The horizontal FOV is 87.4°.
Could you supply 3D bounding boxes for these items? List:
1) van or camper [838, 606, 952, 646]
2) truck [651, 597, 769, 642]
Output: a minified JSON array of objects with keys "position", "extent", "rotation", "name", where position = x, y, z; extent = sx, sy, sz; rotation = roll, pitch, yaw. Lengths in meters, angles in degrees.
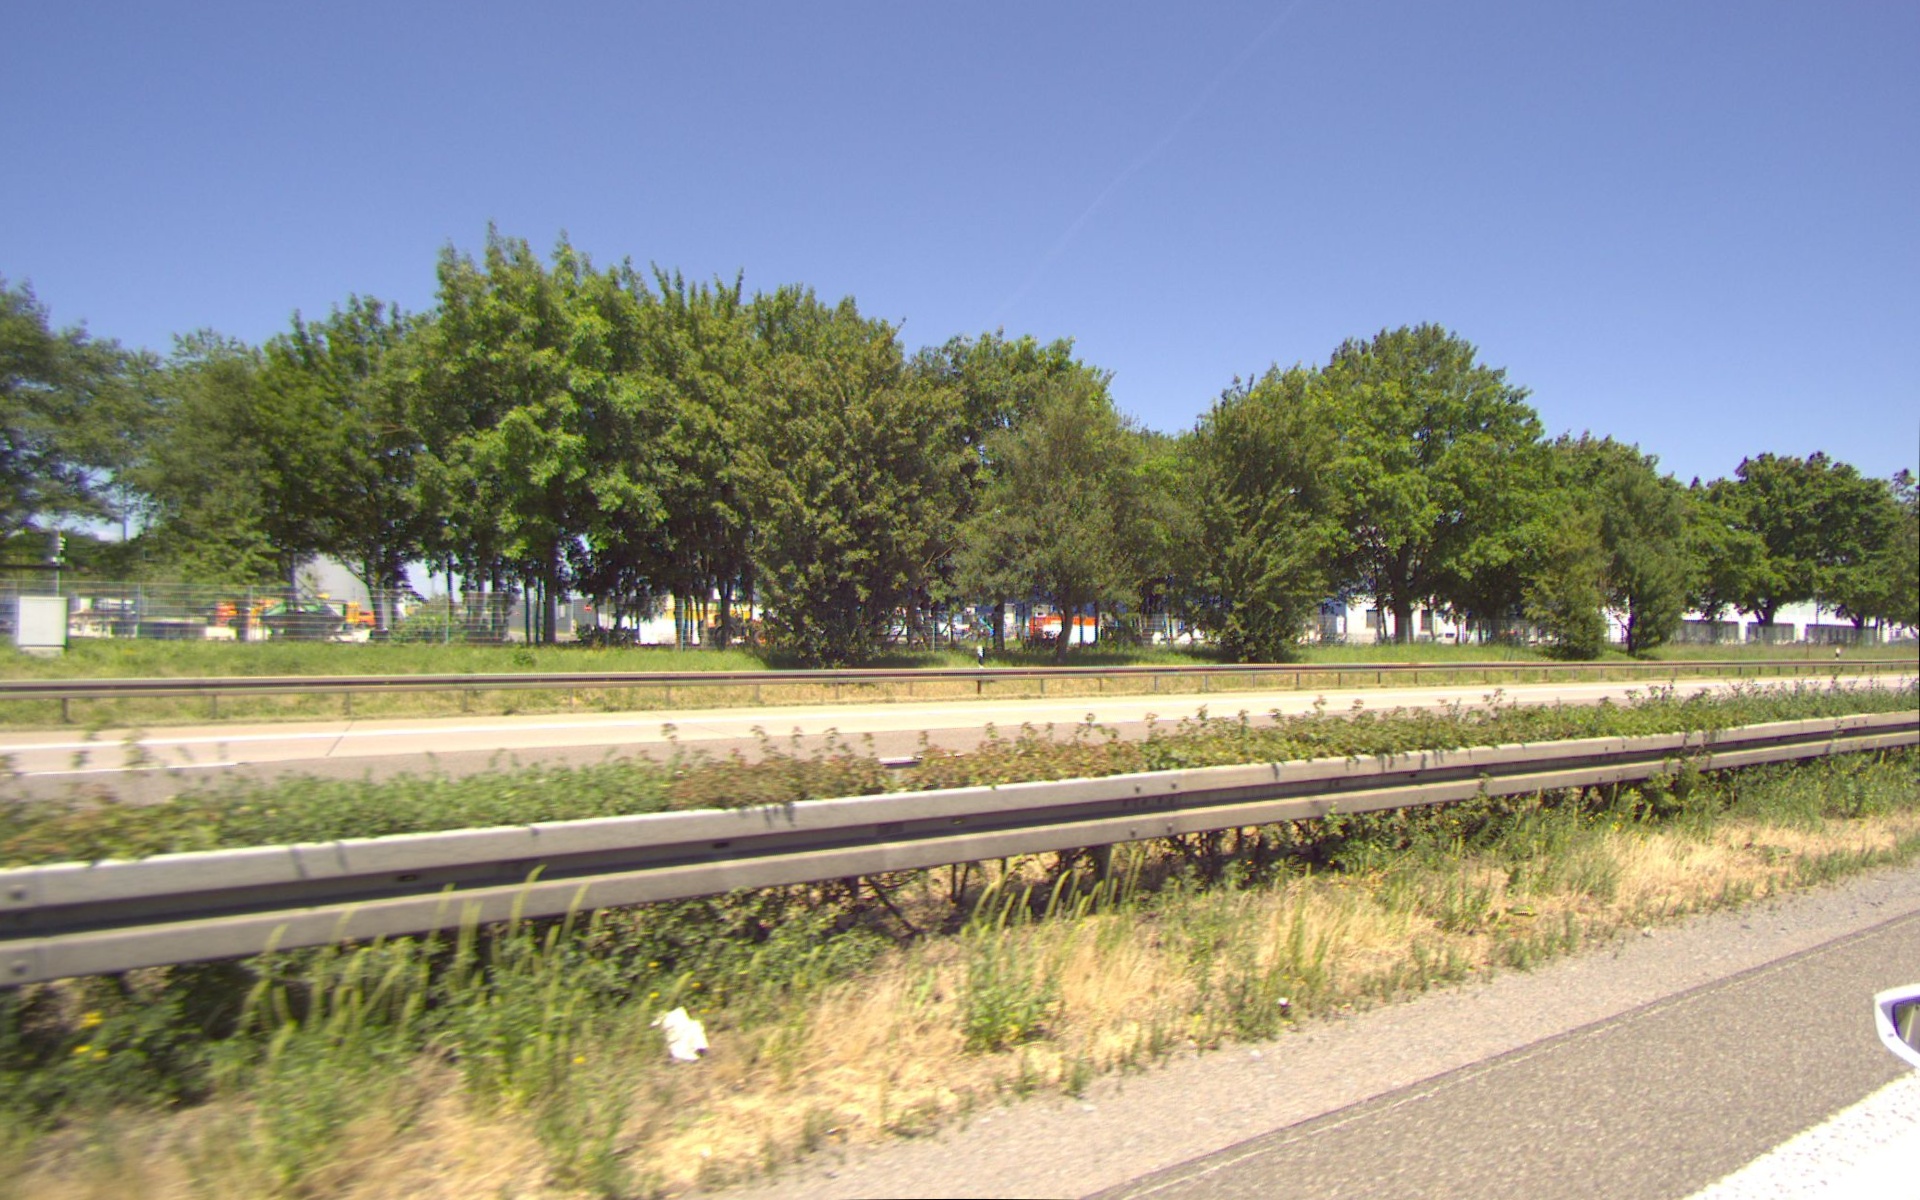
[{"position":[-4.387,1.836,68.818],"extent":[7.639,2.586,2.345],"rotation":[2,-2,-32],"name":"van or camper"},{"position":[-19.243,1.585,77.321],"extent":[8.197,3.233,3.534],"rotation":[1,-2,-30],"name":"truck"}]
